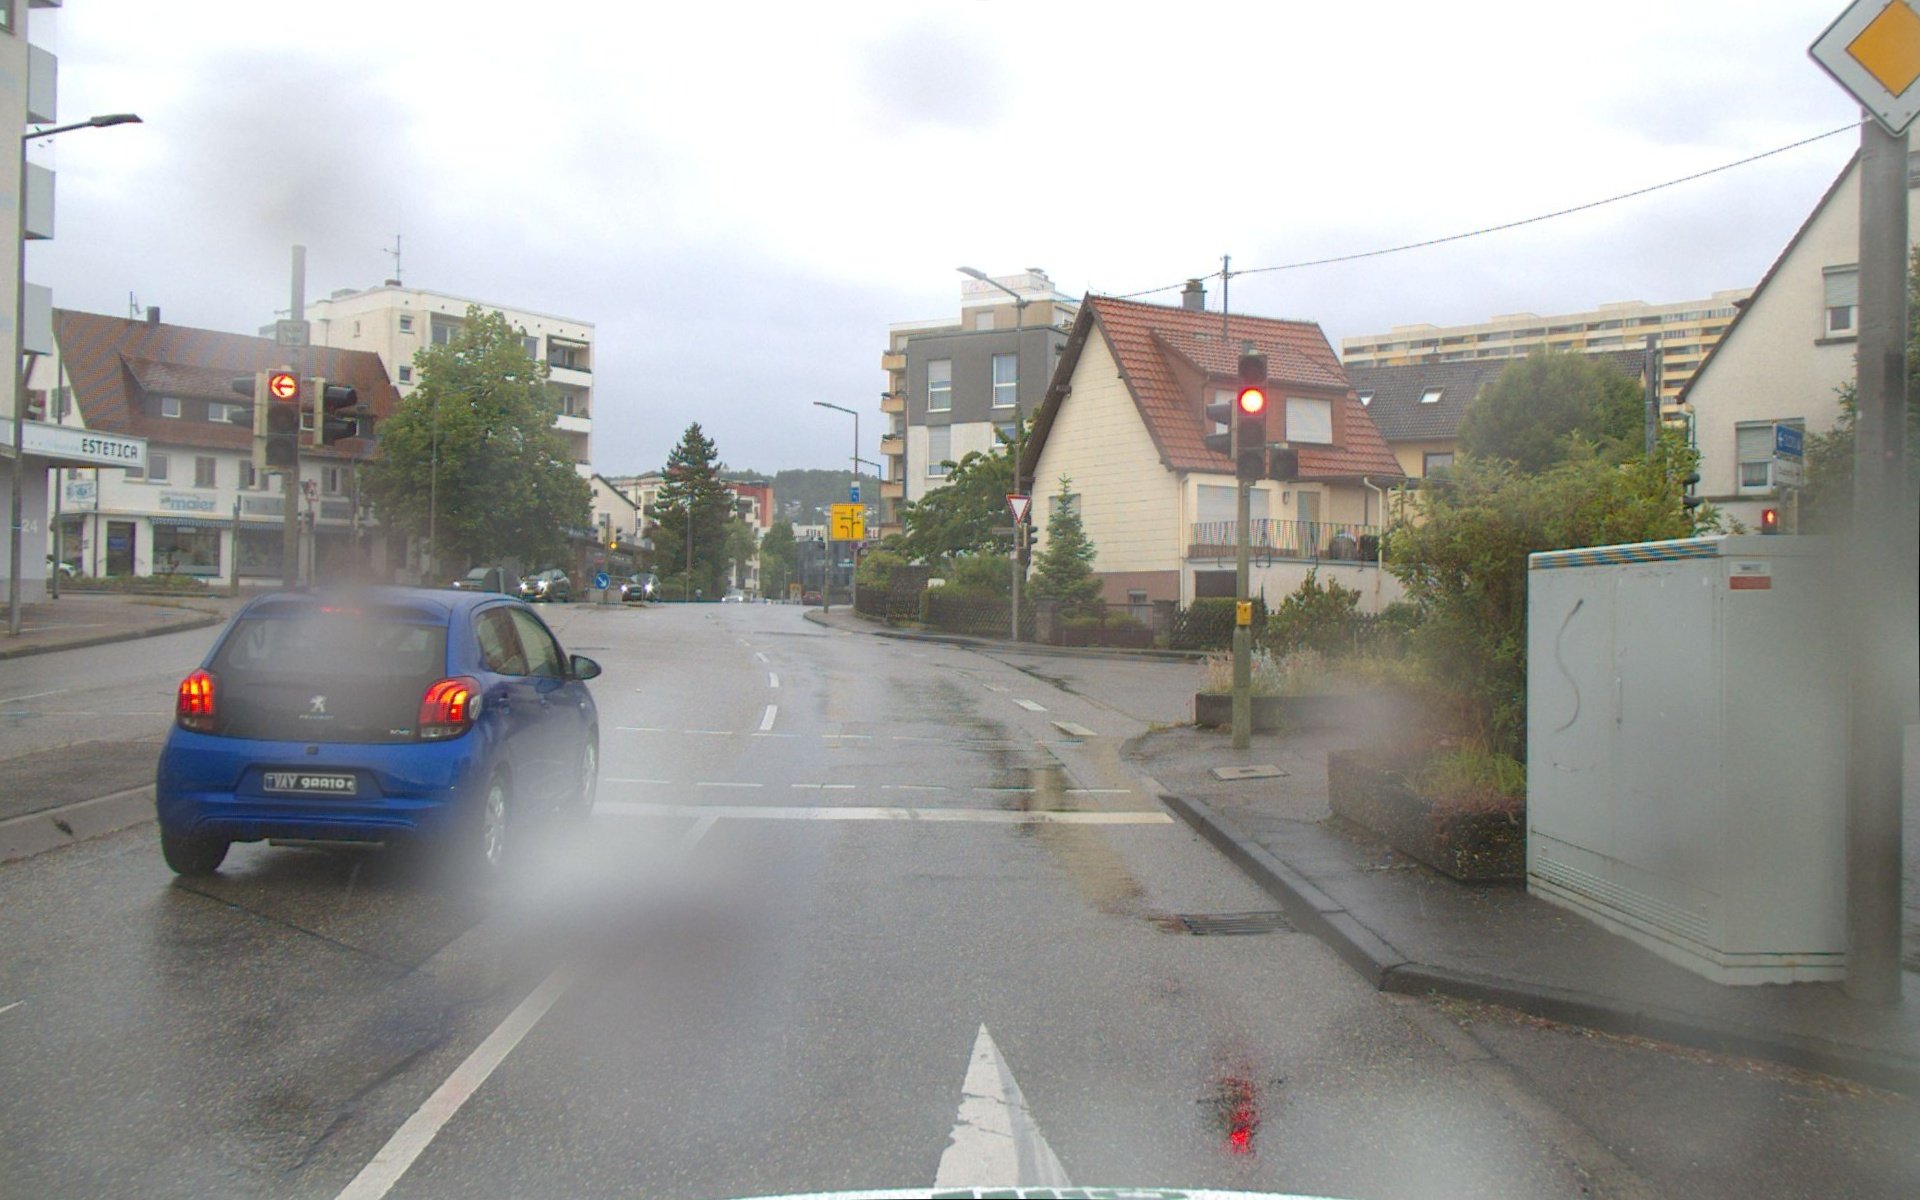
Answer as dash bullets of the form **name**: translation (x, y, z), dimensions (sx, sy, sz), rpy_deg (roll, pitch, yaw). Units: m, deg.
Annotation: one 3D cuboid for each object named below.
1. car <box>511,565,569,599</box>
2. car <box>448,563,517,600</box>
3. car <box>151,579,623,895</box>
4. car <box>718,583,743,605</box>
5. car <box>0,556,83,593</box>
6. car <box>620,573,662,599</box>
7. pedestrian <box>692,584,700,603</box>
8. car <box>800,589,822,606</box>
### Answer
- **car**: translation (-18.745, -0.816, 73.964), dimensions (1.680, 1.411, 4.019), rpy_deg (1, 1, -2)
- **car**: translation (-19.212, -0.750, 66.696), dimensions (1.743, 1.445, 3.830), rpy_deg (1, 1, -2)
- **car**: translation (-2.997, 0.621, 9.328), dimensions (1.547, 1.435, 3.269), rpy_deg (1, 1, -1)
- **car**: translation (-20.305, -0.536, 146.369), dimensions (1.719, 1.847, 3.861), rpy_deg (1, 1, -1)
- **car**: translation (-41.614, -1.152, 73.888), dimensions (1.841, 1.599, 3.939), rpy_deg (2, 1, 44)
- **car**: translation (-18.137, -0.824, 94.093), dimensions (1.743, 1.445, 3.830), rpy_deg (1, 1, -2)
- **pedestrian**: translation (-23.890, -0.555, 149.649), dimensions (0.487, 1.687, 0.434), rpy_deg (1, 1, 25)
- **car**: translation (-13.902, -0.268, 154.292), dimensions (1.776, 1.512, 4.188), rpy_deg (0, 1, -1)
